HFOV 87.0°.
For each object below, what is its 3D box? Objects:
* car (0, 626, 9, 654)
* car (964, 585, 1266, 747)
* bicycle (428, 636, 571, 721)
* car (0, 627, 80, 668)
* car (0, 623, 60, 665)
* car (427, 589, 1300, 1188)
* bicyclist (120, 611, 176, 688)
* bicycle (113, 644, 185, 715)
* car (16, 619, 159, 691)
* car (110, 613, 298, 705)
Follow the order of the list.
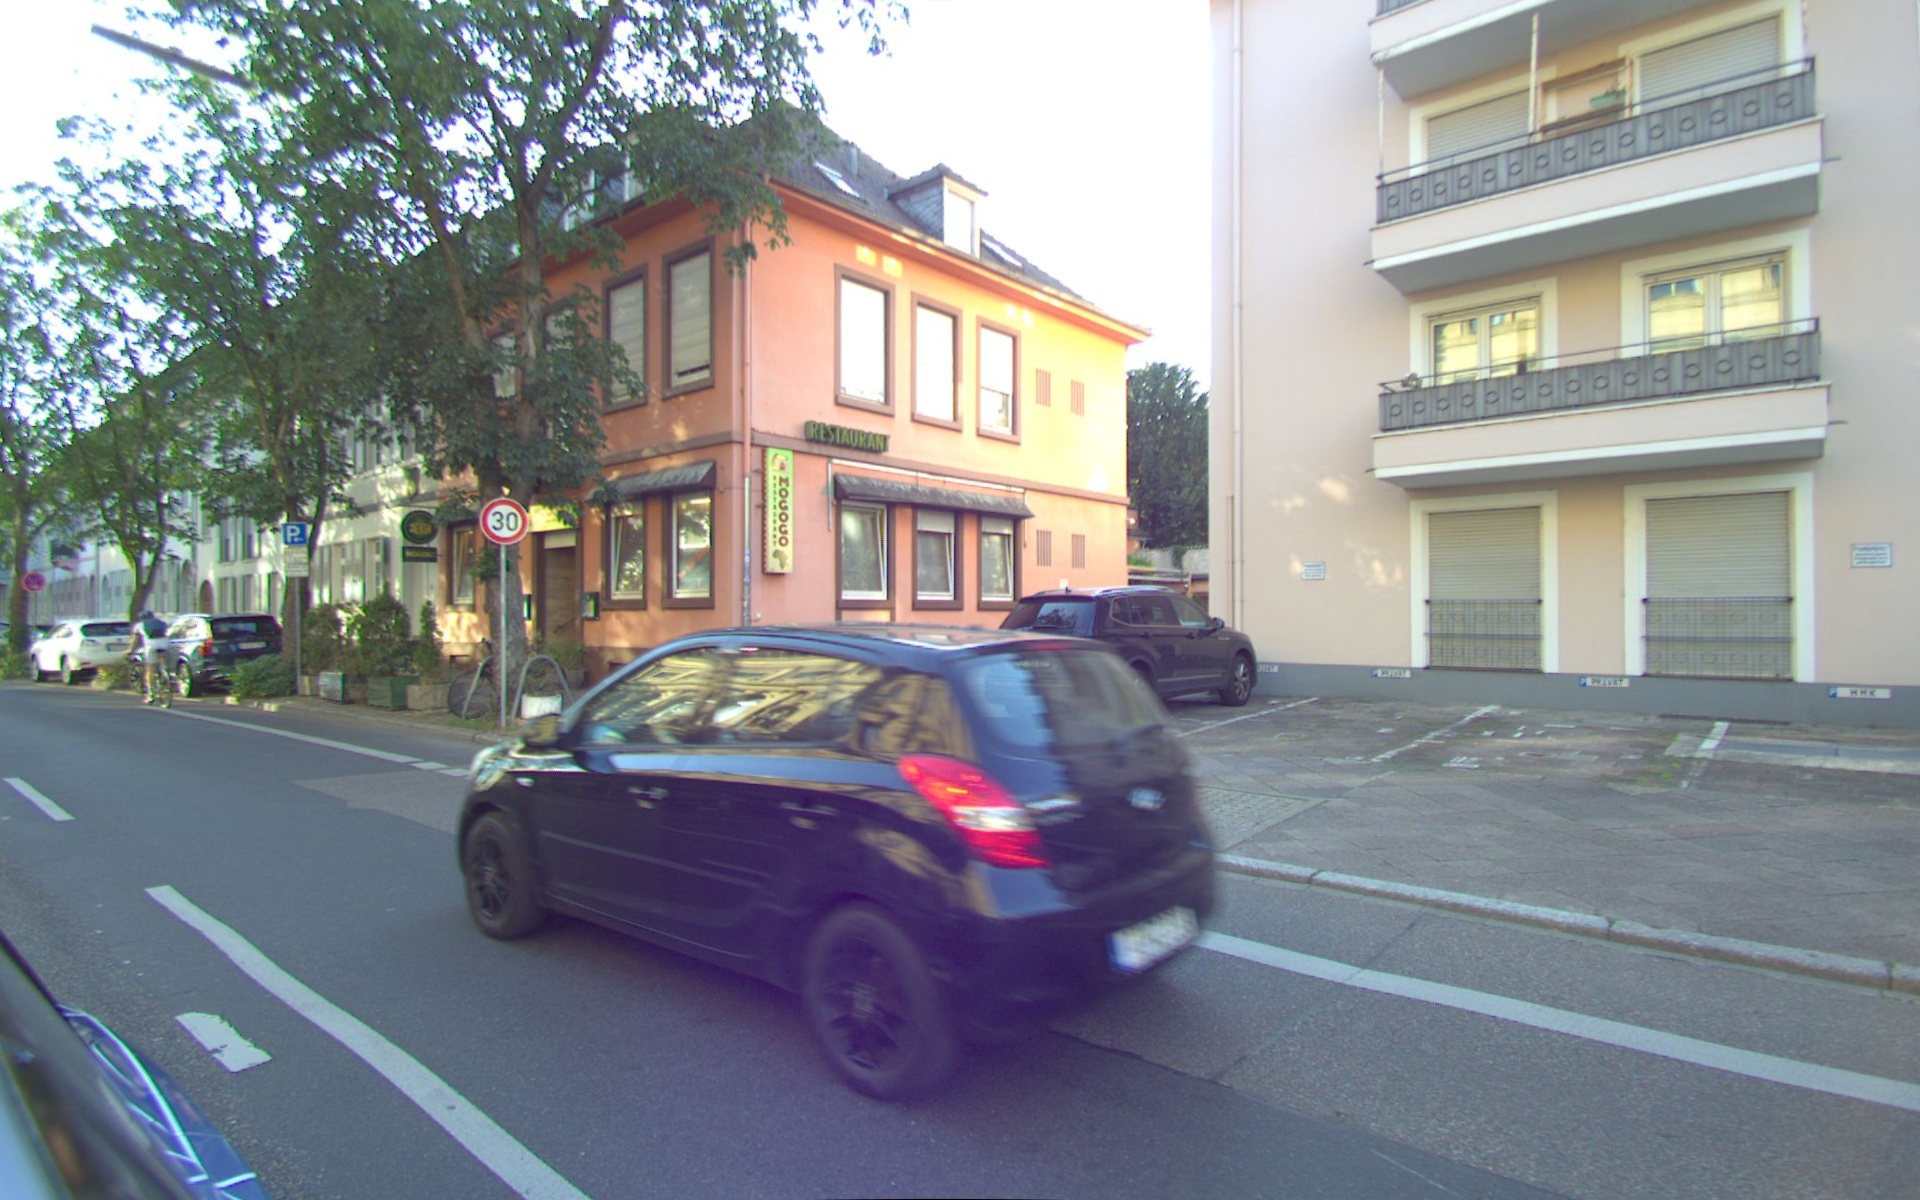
[{"bbox_3d":[-53.665,2.157,53.880,1.798,1.519,4.179,-1,-2,38],"label":"car"},{"bbox_3d":[2.166,0.699,13.070,1.862,1.678,4.375,-2,0,39],"label":"car"},{"bbox_3d":[-6.663,1.107,14.729,0.609,1.112,1.851,-1,-1,34],"label":"bicycle"},{"bbox_3d":[-37.837,1.888,40.223,1.801,1.557,4.172,-2,-2,43],"label":"car"},{"bbox_3d":[-40.104,1.828,41.778,1.798,1.703,4.179,-1,-2,38],"label":"car"},{"bbox_3d":[-0.719,0.802,4.444,3.852,1.483,1.640,-3,-3,42],"label":"car"},{"bbox_3d":[-15.138,0.906,18.862,0.928,1.374,0.619,0,0,39],"label":"bicyclist"},{"bbox_3d":[-15.117,1.451,18.848,2.050,1.164,0.618,1,0,39],"label":"bicycle"},{"bbox_3d":[-23.914,1.449,27.688,4.645,1.680,1.813,-1,2,35],"label":"car"},{"bbox_3d":[-17.056,1.251,22.754,5.036,1.772,1.813,-1,2,35],"label":"car"}]
